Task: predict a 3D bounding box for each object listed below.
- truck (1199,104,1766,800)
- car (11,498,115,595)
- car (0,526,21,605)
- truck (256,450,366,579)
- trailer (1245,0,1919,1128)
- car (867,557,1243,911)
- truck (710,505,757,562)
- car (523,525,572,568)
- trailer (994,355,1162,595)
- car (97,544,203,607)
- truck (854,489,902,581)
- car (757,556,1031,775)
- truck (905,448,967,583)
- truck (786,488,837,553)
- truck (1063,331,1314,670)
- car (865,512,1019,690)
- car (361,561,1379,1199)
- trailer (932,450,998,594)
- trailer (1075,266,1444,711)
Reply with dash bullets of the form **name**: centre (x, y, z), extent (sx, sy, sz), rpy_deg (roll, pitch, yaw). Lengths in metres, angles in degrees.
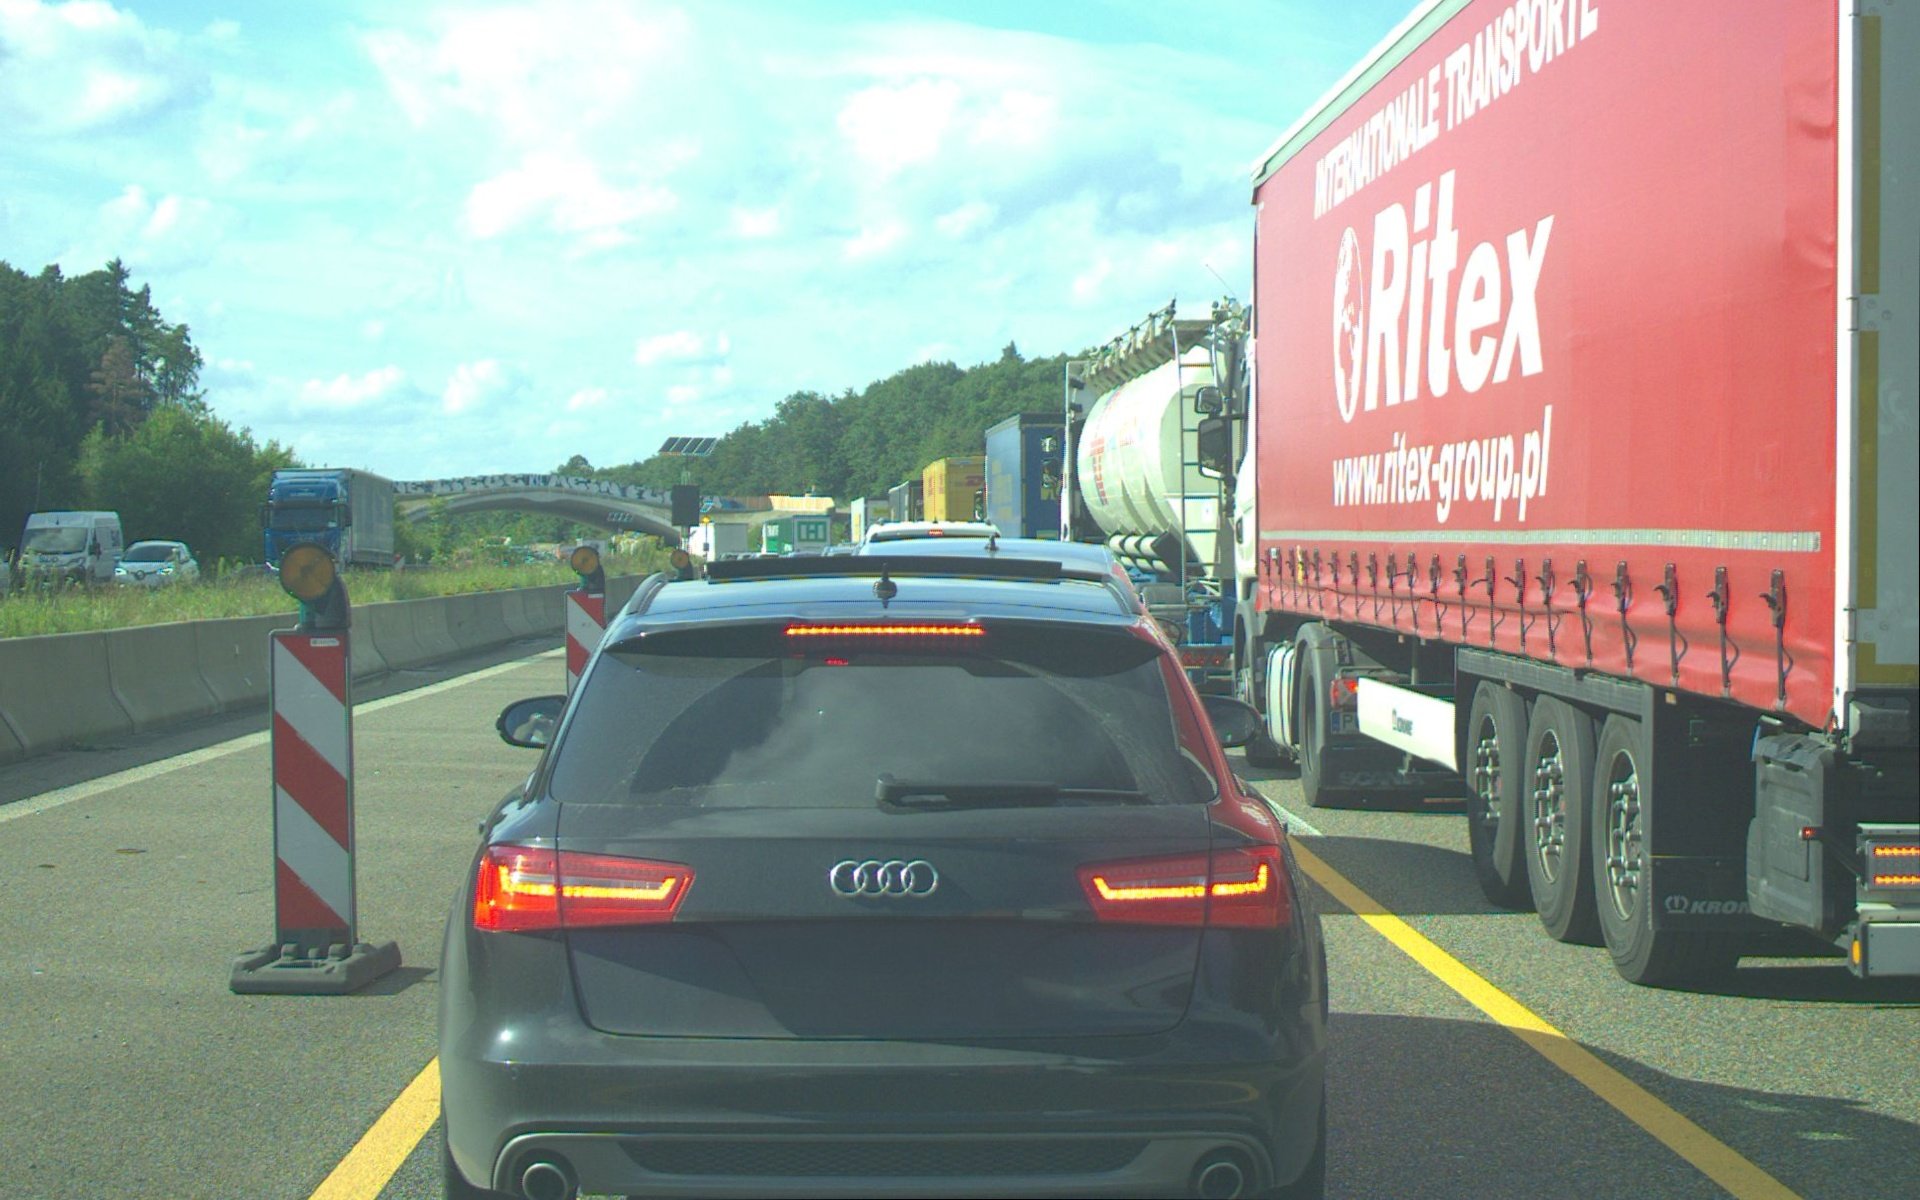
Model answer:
- **truck**: centre (3.194, -0.891, 22.552), extent (2.667, 3.946, 5.711), rpy_deg (1, 1, -1)
- **car**: centre (-25.375, -1.491, 97.446), extent (2.250, 2.634, 5.021), rpy_deg (1, 0, -8)
- **car**: centre (-25.462, -0.893, 87.590), extent (1.993, 2.007, 4.000), rpy_deg (1, 0, -1)
- **truck**: centre (-21.576, -2.833, 114.566), extent (2.637, 4.175, 5.468), rpy_deg (1, 1, -1)
- **trailer**: centre (3.362, -0.726, 15.510), extent (2.699, 3.955, 13.418), rpy_deg (1, 1, -1)
- **car**: centre (0.373, 0.538, 15.782), extent (1.524, 1.434, 3.285), rpy_deg (1, 0, -1)
- **truck**: centre (-17.142, -5.027, 259.527), extent (3.303, 4.160, 9.704), rpy_deg (1, 1, -5)
- **car**: centre (-19.409, -2.511, 161.909), extent (1.993, 1.941, 4.000), rpy_deg (1, 0, -2)
- **trailer**: centre (2.245, -2.358, 68.973), extent (2.805, 4.398, 10.433), rpy_deg (1, 0, -1)
- **car**: centre (-20.736, -0.631, 88.131), extent (1.787, 1.555, 4.000), rpy_deg (1, 0, -1)
- **truck**: centre (-3.850, -3.029, 162.253), extent (2.137, 4.243, 7.072), rpy_deg (1, 0, -1)
- **car**: centre (-0.444, 0.412, 24.056), extent (1.751, 1.392, 3.608), rpy_deg (1, 0, -1)
- **truck**: centre (-0.950, -3.181, 130.247), extent (1.993, 4.897, 9.563), rpy_deg (1, 1, -2)
- **truck**: centre (-9.761, -5.203, 226.133), extent (3.304, 4.160, 9.703), rpy_deg (0, 1, -2)
- **truck**: centre (2.786, -1.200, 43.464), extent (2.659, 3.958, 5.779), rpy_deg (1, 0, -1)
- **car**: centre (-0.204, -0.006, 37.411), extent (1.581, 1.830, 3.112), rpy_deg (1, 0, -1)
- **car**: centre (-0.186, 0.647, 8.268), extent (1.848, 1.458, 4.000), rpy_deg (0, 0, -1)
- **trailer**: centre (0.119, -2.151, 96.803), extent (1.616, 3.905, 6.490), rpy_deg (1, 0, -1)
- **trailer**: centre (2.887, -1.082, 36.979), extent (2.644, 3.929, 12.598), rpy_deg (1, 1, -1)
